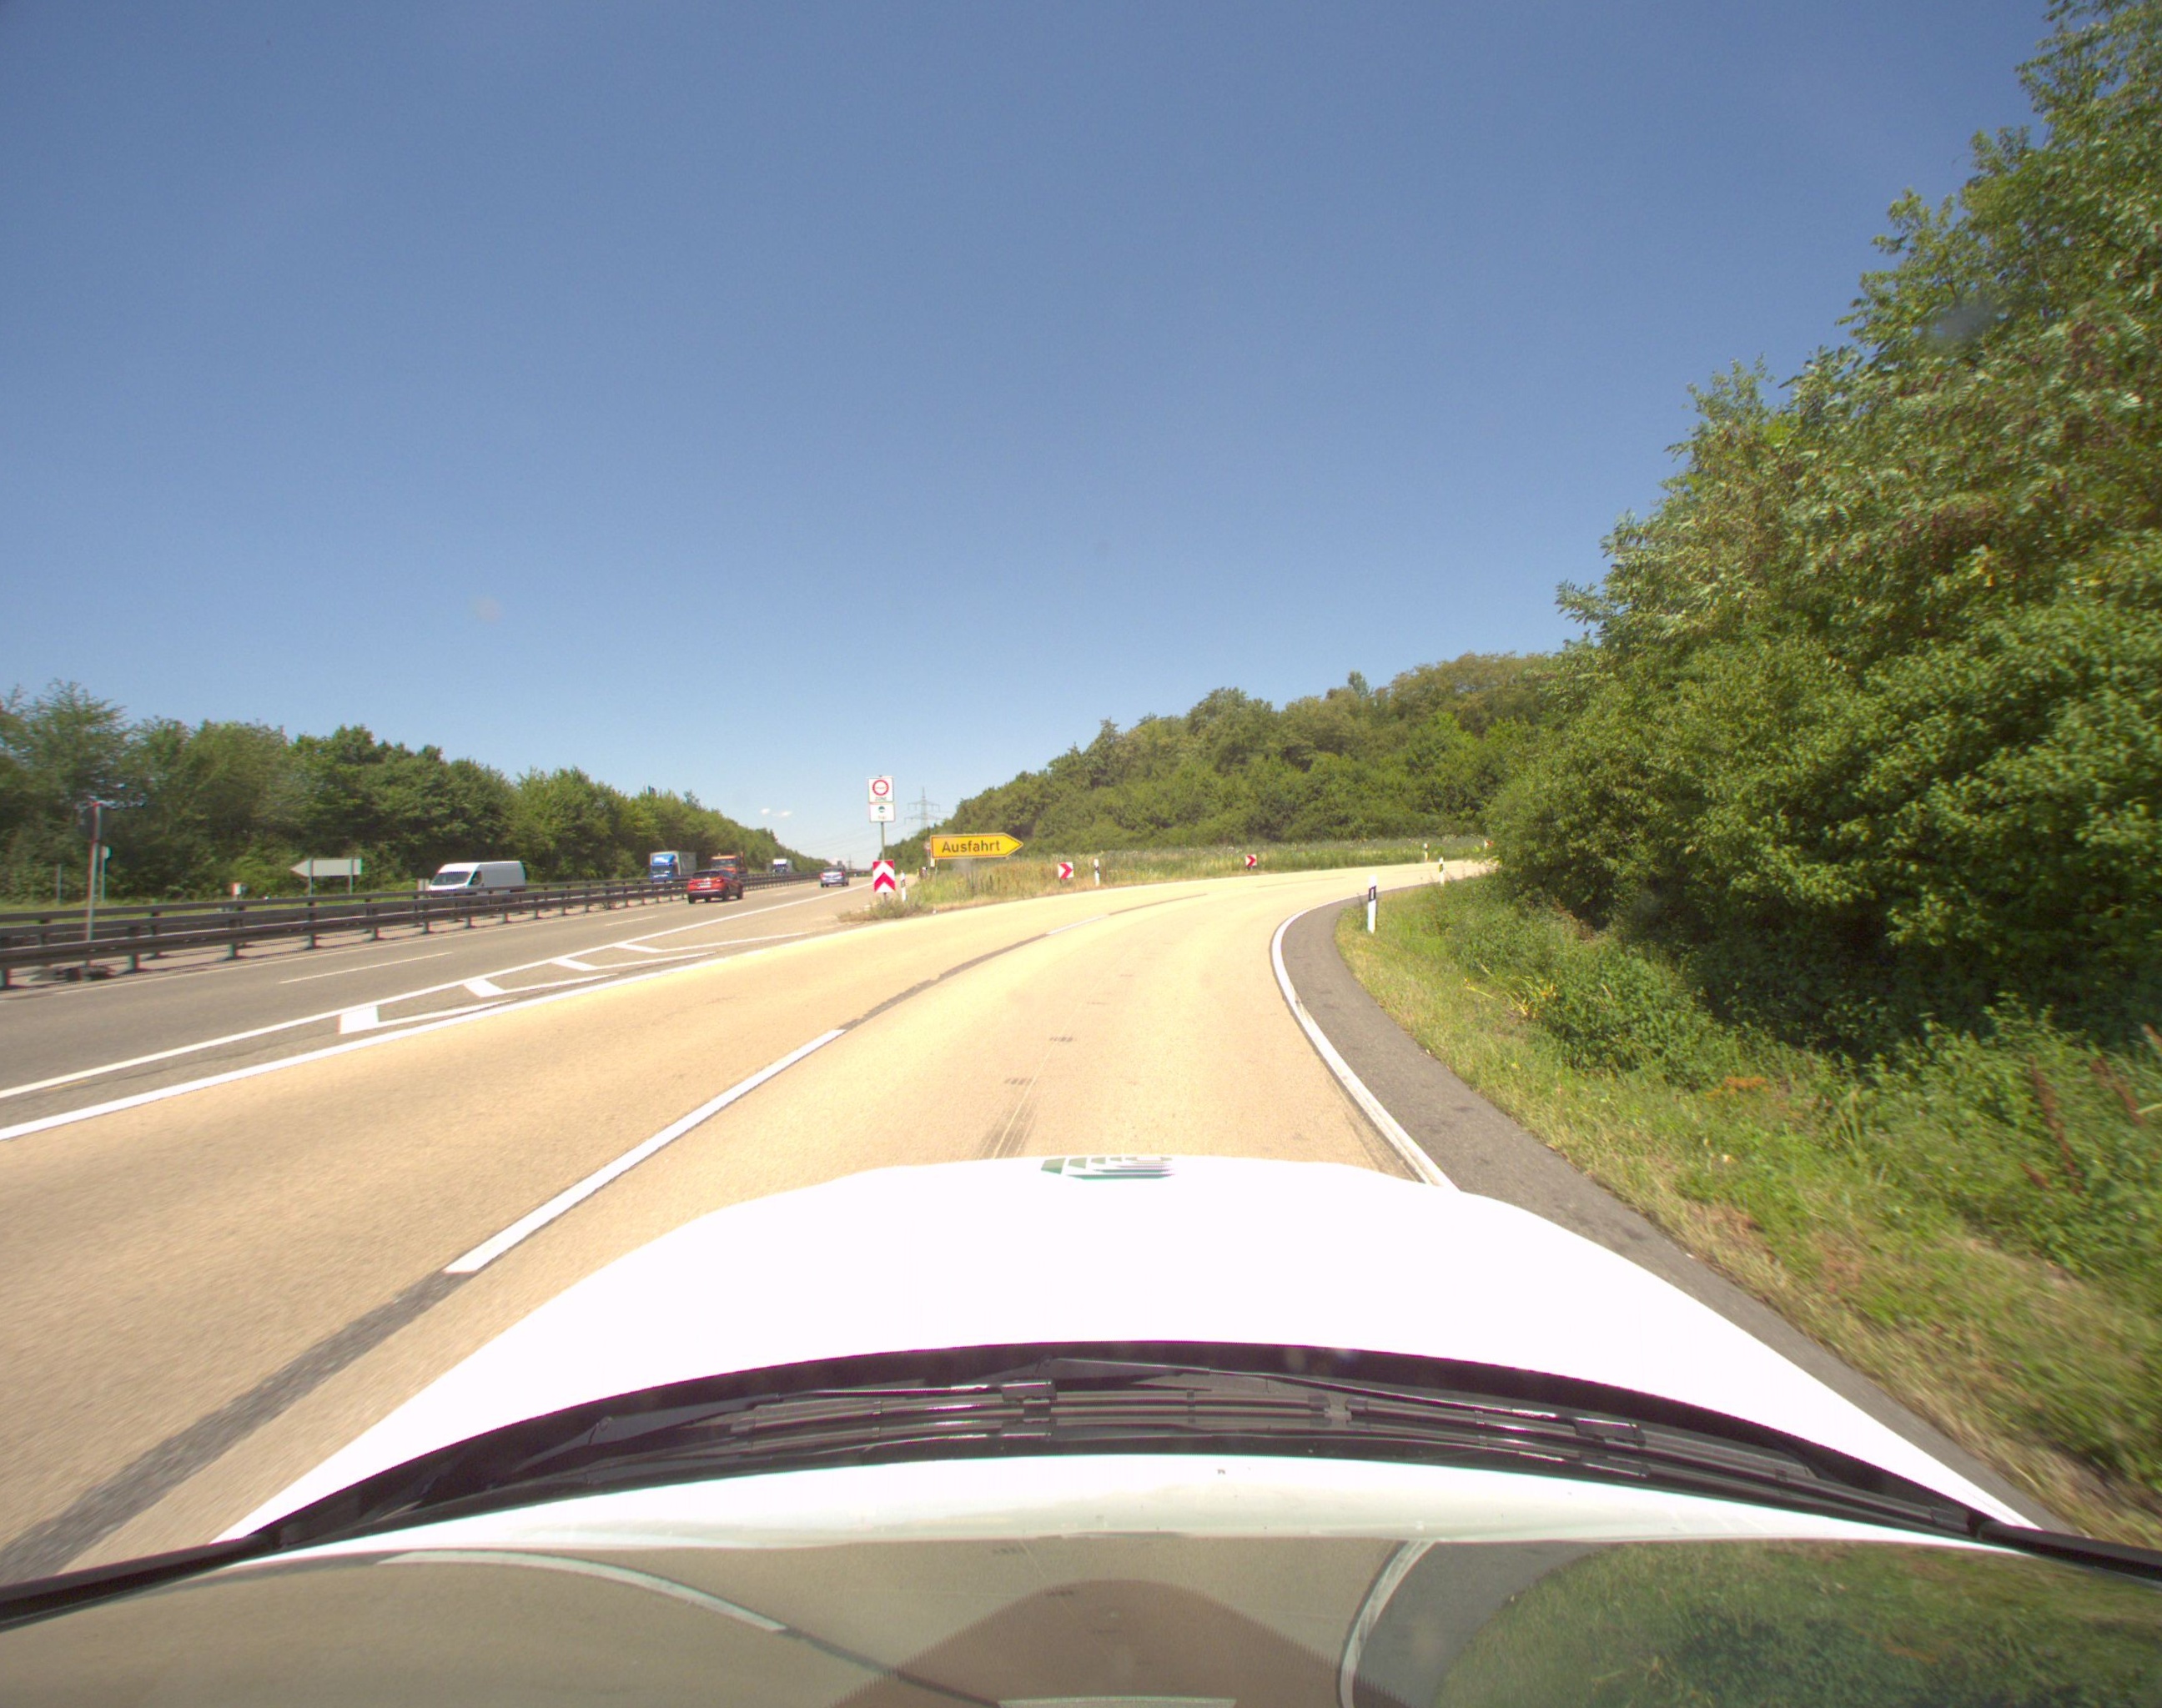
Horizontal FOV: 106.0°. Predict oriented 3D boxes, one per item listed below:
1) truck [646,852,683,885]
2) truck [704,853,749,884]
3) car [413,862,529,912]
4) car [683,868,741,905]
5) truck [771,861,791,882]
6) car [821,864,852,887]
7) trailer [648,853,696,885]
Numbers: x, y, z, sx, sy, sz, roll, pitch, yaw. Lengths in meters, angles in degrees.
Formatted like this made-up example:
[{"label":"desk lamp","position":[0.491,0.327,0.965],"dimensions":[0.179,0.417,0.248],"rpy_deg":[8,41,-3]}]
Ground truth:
[{"label":"truck","position":[-40.047,1.402,78.434],"dimensions":[2.310,3.009,3.065],"rpy_deg":[-2,0,-11]},{"label":"truck","position":[-37.967,1.571,87.436],"dimensions":[2.596,3.062,8.173],"rpy_deg":[-2,-1,-11]},{"label":"car","position":[-34.554,1.757,46.469],"dimensions":[2.155,2.538,6.681],"rpy_deg":[-1,0,-7]},{"label":"car","position":[-17.691,1.513,39.193],"dimensions":[1.745,1.554,3.367],"rpy_deg":[-3,0,-11]},{"label":"truck","position":[-59.179,3.523,160.722],"dimensions":[2.915,3.939,5.393],"rpy_deg":[-3,-1,-13]},{"label":"car","position":[-17.847,1.553,59.529],"dimensions":[1.745,1.577,3.367],"rpy_deg":[-3,0,-11]},{"label":"trailer","position":[-40.776,1.434,81.469],"dimensions":[2.299,3.009,7.194],"rpy_deg":[-2,0,-11]}]
